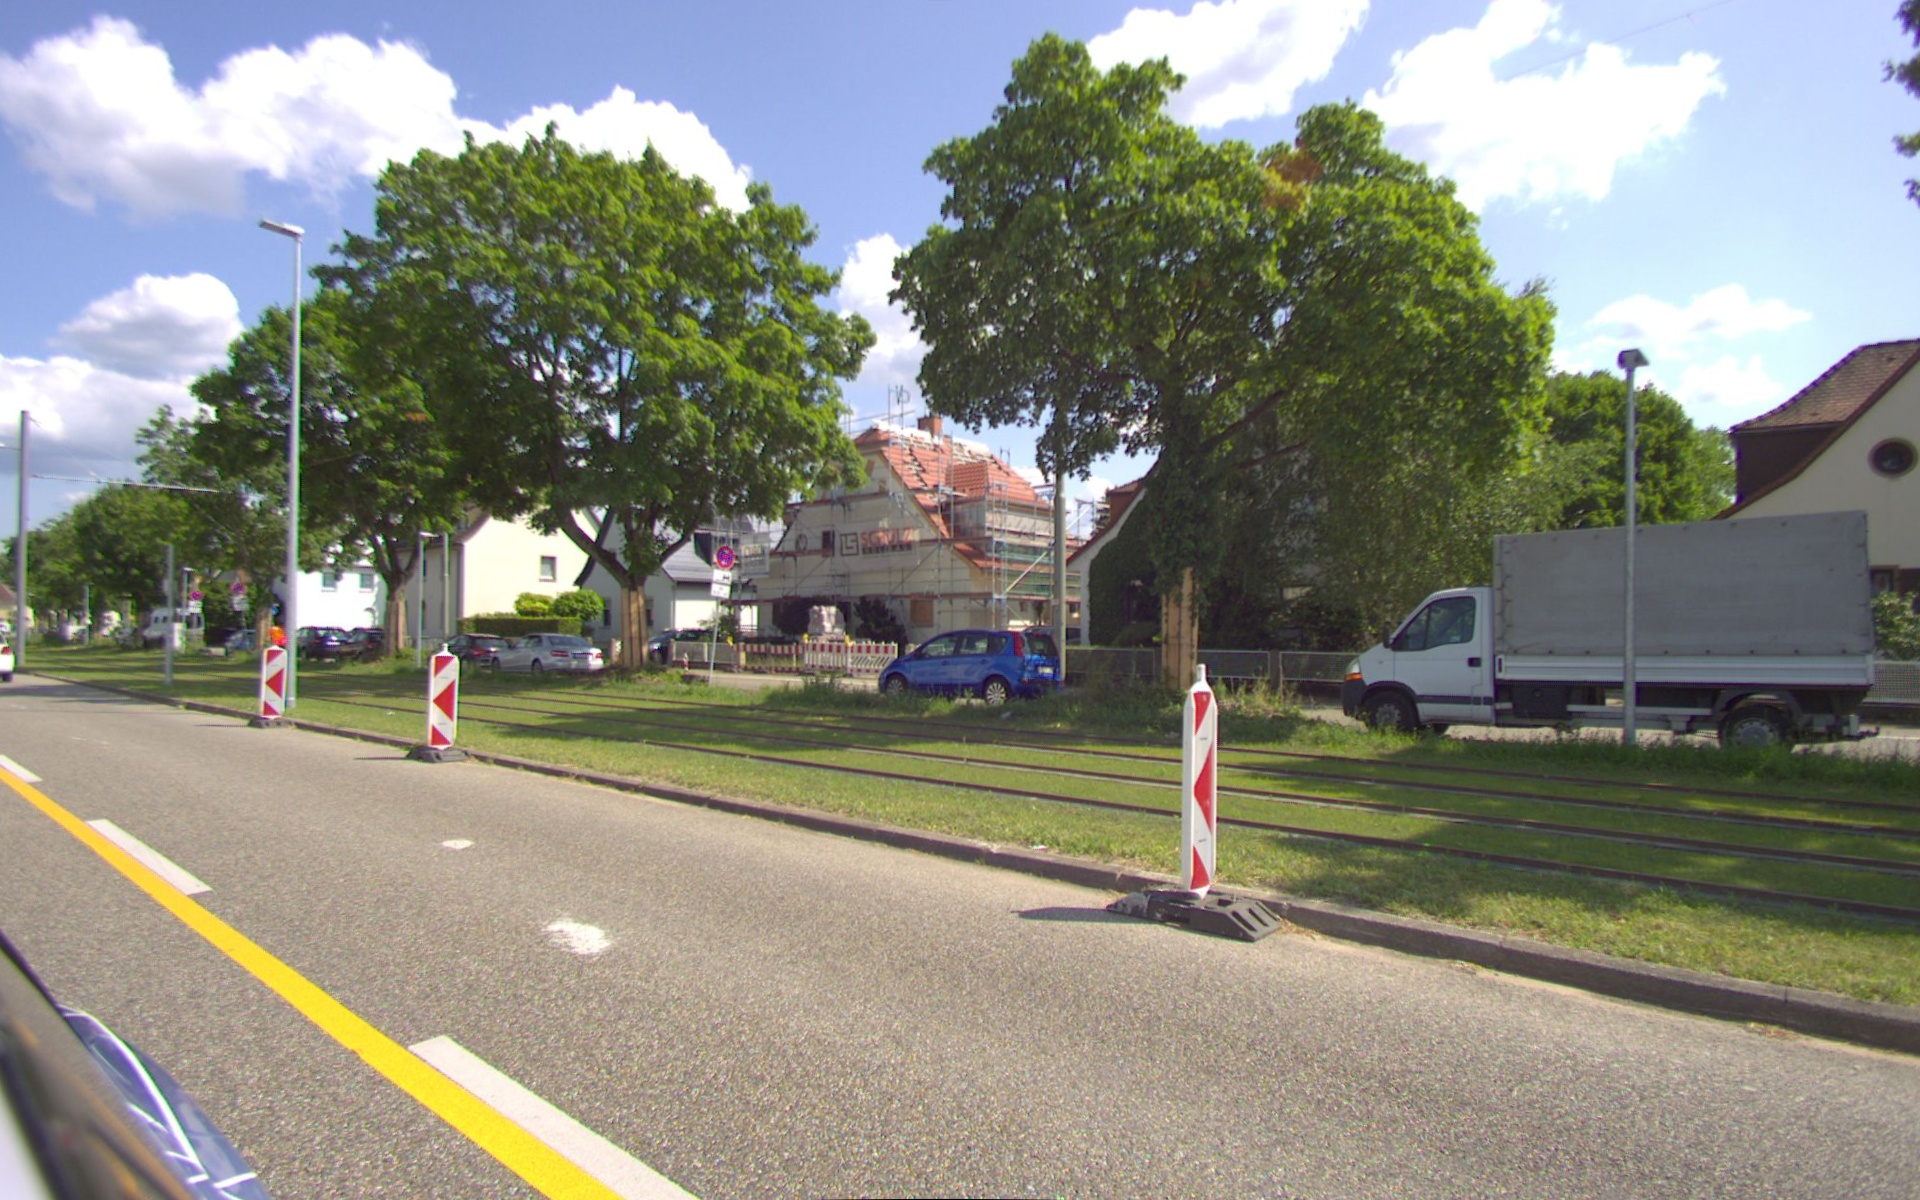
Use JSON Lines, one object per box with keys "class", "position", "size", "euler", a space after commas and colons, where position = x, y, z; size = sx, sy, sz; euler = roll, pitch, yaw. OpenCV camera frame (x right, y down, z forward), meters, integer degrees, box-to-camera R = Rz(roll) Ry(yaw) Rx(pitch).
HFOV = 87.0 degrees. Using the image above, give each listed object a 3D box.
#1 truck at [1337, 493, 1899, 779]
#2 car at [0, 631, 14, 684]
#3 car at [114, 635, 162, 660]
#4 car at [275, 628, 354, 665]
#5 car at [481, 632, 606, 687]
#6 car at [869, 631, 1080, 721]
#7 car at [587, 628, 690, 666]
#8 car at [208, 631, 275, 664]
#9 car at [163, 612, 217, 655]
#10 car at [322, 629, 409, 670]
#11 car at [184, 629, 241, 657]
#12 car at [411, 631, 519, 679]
{"class": "truck", "position": [8.280, 0.461, 13.359], "size": [5.871, 3.010, 1.982], "euler": [-2, -3, 41]}
{"class": "car", "position": [-27.662, 1.577, 28.031], "size": [4.260, 1.424, 1.697], "euler": [-2, -3, 41]}
{"class": "car", "position": [-57.018, 3.266, 70.152], "size": [4.603, 1.623, 1.733], "euler": [-2, -3, 40]}
{"class": "car", "position": [-29.597, 2.096, 46.334], "size": [4.603, 1.623, 1.733], "euler": [-2, -3, 40]}
{"class": "car", "position": [-13.168, 1.827, 31.864], "size": [4.603, 1.623, 1.733], "euler": [-2, -3, 40]}
{"class": "car", "position": [0.225, 1.440, 20.198], "size": [4.047, 1.623, 1.733], "euler": [-2, -3, 40]}
{"class": "car", "position": [-14.077, 2.043, 44.511], "size": [1.756, 1.623, 3.995], "euler": [-2, -3, 41]}
{"class": "car", "position": [-37.640, 2.466, 52.982], "size": [4.603, 1.623, 1.733], "euler": [-2, -3, 40]}
{"class": "car", "position": [-48.793, 2.104, 64.070], "size": [4.603, 2.636, 1.733], "euler": [-2, -3, 40]}
{"class": "car", "position": [-25.178, 2.071, 42.830], "size": [4.603, 1.623, 1.733], "euler": [-2, -3, 40]}
{"class": "car", "position": [-44.641, 2.551, 60.407], "size": [4.603, 1.623, 1.733], "euler": [-2, -3, 40]}
{"class": "car", "position": [-17.609, 1.912, 35.935], "size": [4.603, 1.623, 1.733], "euler": [-2, -3, 40]}
